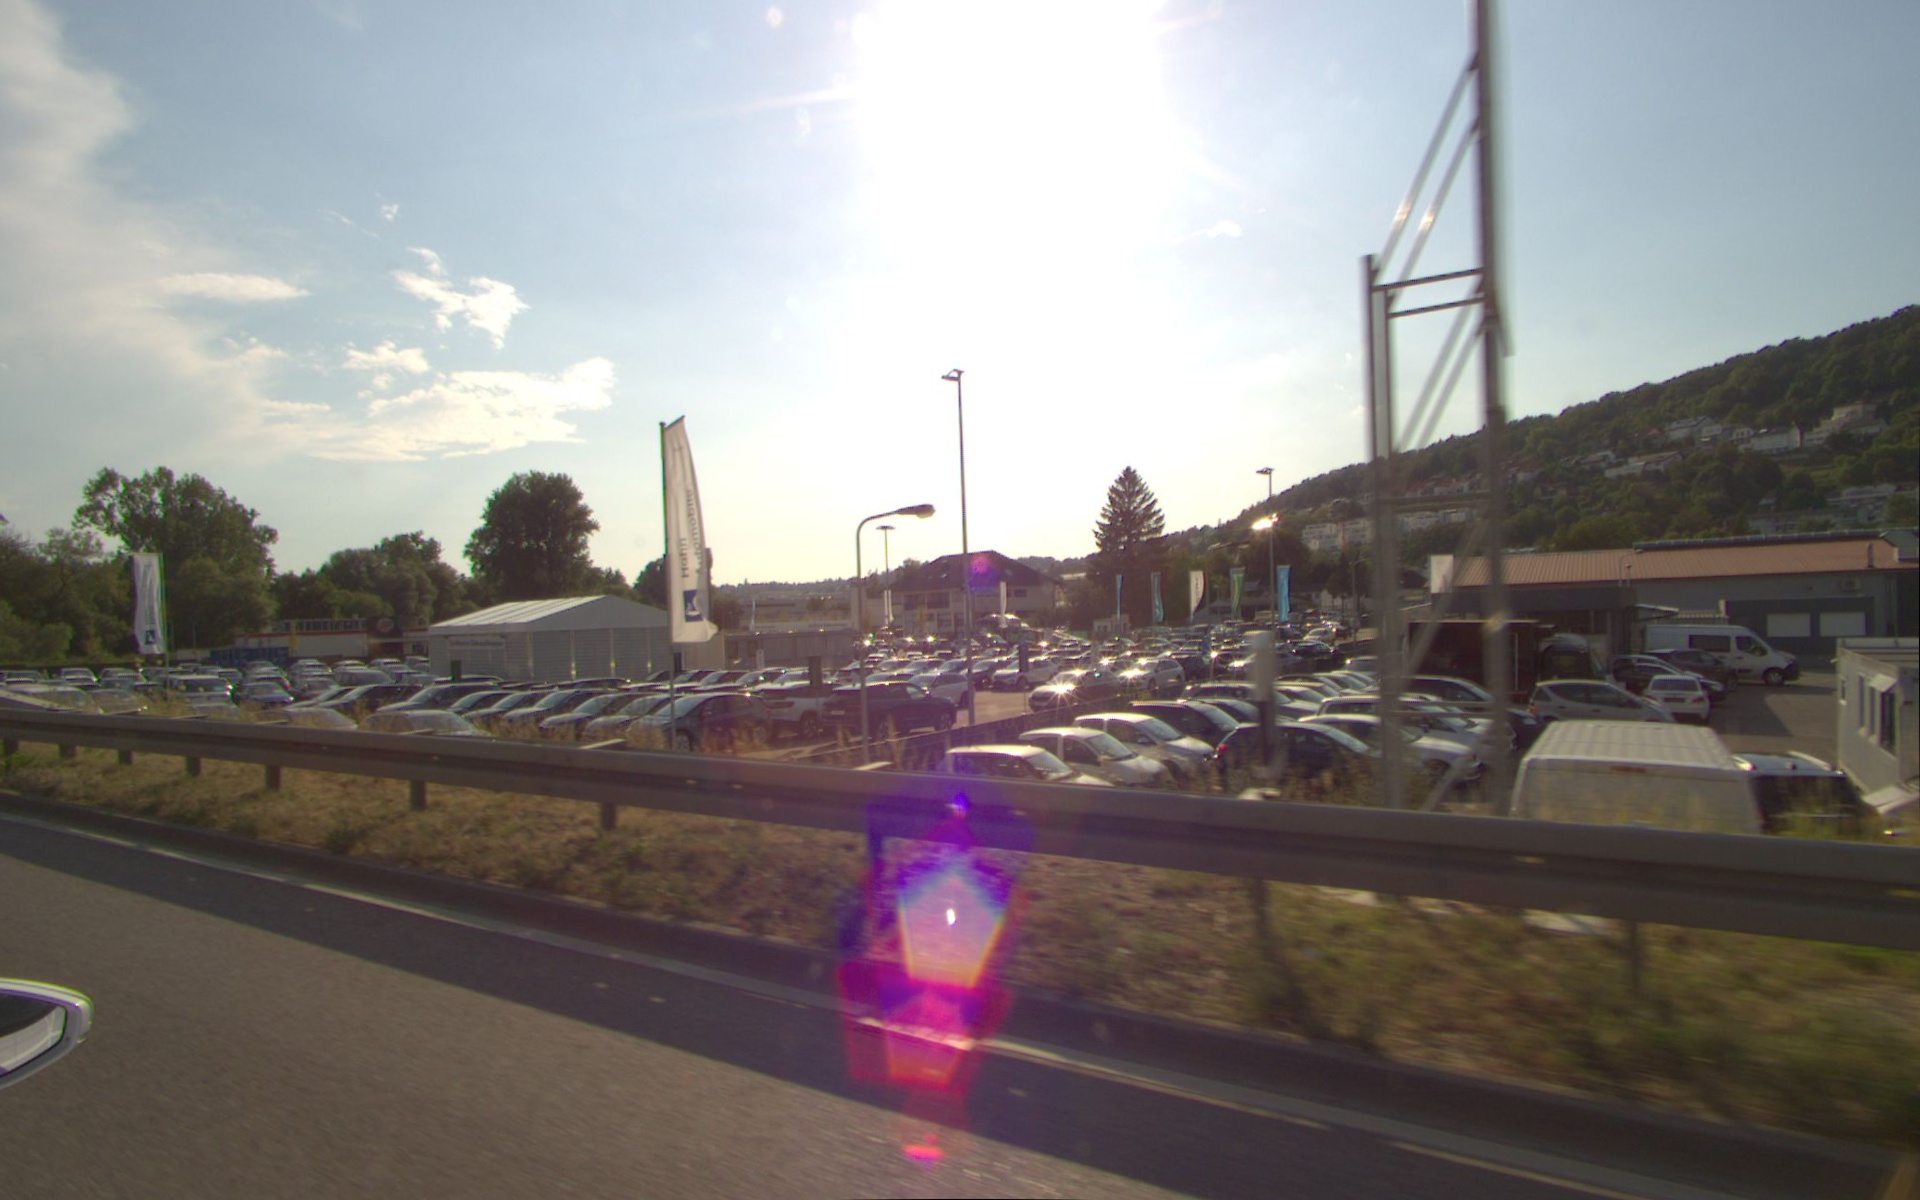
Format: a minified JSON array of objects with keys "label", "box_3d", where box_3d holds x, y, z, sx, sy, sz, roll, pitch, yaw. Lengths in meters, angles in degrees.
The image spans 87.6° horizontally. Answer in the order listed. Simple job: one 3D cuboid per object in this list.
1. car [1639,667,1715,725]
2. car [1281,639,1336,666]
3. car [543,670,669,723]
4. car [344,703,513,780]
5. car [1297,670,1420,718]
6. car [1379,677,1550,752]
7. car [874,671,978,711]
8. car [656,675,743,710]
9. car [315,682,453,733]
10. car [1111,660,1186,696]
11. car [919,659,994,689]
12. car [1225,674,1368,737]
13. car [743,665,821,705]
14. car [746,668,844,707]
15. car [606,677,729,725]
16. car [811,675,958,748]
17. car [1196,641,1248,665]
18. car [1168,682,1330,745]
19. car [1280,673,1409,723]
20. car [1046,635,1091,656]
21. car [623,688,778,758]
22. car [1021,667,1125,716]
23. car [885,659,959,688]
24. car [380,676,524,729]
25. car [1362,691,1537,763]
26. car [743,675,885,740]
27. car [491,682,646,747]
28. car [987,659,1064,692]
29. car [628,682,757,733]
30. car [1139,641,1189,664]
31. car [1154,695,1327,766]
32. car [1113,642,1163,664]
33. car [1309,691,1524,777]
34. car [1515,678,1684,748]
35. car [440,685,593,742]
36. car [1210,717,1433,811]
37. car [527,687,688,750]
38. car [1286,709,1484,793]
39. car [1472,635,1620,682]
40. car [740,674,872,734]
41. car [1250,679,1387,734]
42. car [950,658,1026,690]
[{"label":"car","box_3d":[22.591,2.962,31.495,1.778,1.563,4.316,-2,-3,37]},{"label":"car","box_3d":[24.301,3.645,69.793,3.958,1.739,1.982,1,-2,-42]},{"label":"car","box_3d":[-13.906,3.774,39.544,1.780,1.724,4.401,-7,-4,38]},{"label":"car","box_3d":[-13.174,3.413,24.743,4.371,1.563,1.792,-2,-3,32]},{"label":"car","box_3d":[14.353,3.358,36.182,3.841,1.563,1.592,-3,-3,36]},{"label":"car","box_3d":[13.834,3.082,27.553,3.969,1.824,1.592,-3,-3,37]},{"label":"car","box_3d":[-1.297,3.627,40.353,1.779,1.386,4.402,-2,-3,38]},{"label":"car","box_3d":[-13.142,4.649,50.728,1.762,1.584,3.968,-3,-3,42]},{"label":"car","box_3d":[-22.741,4.209,39.679,1.778,1.628,4.402,0,-2,38]},{"label":"car","box_3d":[9.151,3.719,48.378,1.779,1.563,4.316,-2,-3,38]},{"label":"car","box_3d":[-0.148,4.123,56.231,1.781,1.563,4.310,-3,-3,42]},{"label":"car","box_3d":[10.281,3.185,30.725,3.842,1.722,1.592,-3,-3,37]},{"label":"car","box_3d":[-9.614,4.555,54.306,1.762,1.980,3.968,-2,-3,42]},{"label":"car","box_3d":[-7.480,3.950,45.733,1.779,1.563,4.402,-2,-3,38]},{"label":"car","box_3d":[-11.258,3.856,38.812,1.779,1.563,4.402,-2,-3,38]},{"label":"car","box_3d":[-2.114,3.171,29.293,1.779,1.736,4.401,-2,-2,38]},{"label":"car","box_3d":[19.825,3.965,75.746,3.958,1.739,1.982,1,-2,-42]},{"label":"car","box_3d":[8.358,3.238,29.134,4.231,1.614,1.592,-3,-3,37]},{"label":"car","box_3d":[13.296,3.359,34.703,3.842,1.563,1.790,-3,-3,36]},{"label":"car","box_3d":[10.524,4.410,96.917,1.981,2.039,3.961,1,-3,-45]},{"label":"car","box_3d":[-7.042,3.311,27.522,1.763,1.563,3.964,-2,-3,34]},{"label":"car","box_3d":[4.231,3.342,37.074,1.779,1.563,4.402,-2,-3,38]},{"label":"car","box_3d":[-2.171,4.238,58.210,1.781,1.563,4.310,-3,-3,42]},{"label":"car","box_3d":[-18.636,3.713,36.867,1.819,1.687,4.402,-2,-3,38]},{"label":"car","box_3d":[12.632,3.230,25.939,3.842,1.583,1.592,-3,-3,37]},{"label":"car","box_3d":[-4.494,3.294,31.335,1.779,1.735,4.402,-2,-3,38]},{"label":"car","box_3d":[-12.538,3.623,32.302,1.779,1.735,4.402,-2,-3,38]},{"label":"car","box_3d":[3.497,3.916,52.651,1.781,1.563,4.310,-3,-3,42]},{"label":"car","box_3d":[-9.757,3.900,36.822,1.779,1.563,4.402,-2,-3,38]},{"label":"car","box_3d":[16.305,4.197,80.001,3.958,1.739,1.982,1,-2,-42]},{"label":"car","box_3d":[7.482,3.434,26.922,4.189,1.614,1.592,-3,-3,37]},{"label":"car","box_3d":[14.601,4.323,82.098,3.958,1.739,1.982,1,-2,-42]},{"label":"car","box_3d":[11.015,3.165,24.301,4.441,1.722,1.959,-3,-3,37]},{"label":"car","box_3d":[17.765,3.092,27.898,3.842,1.722,1.592,-3,-3,37]},{"label":"car","box_3d":[-14.790,3.732,33.571,1.779,1.563,4.402,-2,-3,38]},{"label":"car","box_3d":[7.521,3.351,20.980,4.121,1.526,1.593,-2,0,33]},{"label":"car","box_3d":[-10.721,3.550,30.707,1.779,1.563,4.402,-2,-3,38]},{"label":"car","box_3d":[9.521,3.327,22.562,3.818,1.530,1.592,-3,-3,37]},{"label":"car","box_3d":[20.296,2.016,34.747,4.289,1.563,1.790,-3,-3,36]},{"label":"car","box_3d":[-5.118,3.431,33.814,1.779,1.735,4.402,-2,-3,38]},{"label":"car","box_3d":[11.614,3.418,32.529,3.842,1.563,1.790,-3,-3,36]},{"label":"car","box_3d":[1.553,4.008,54.628,1.781,1.563,4.310,-3,-3,42]}]
